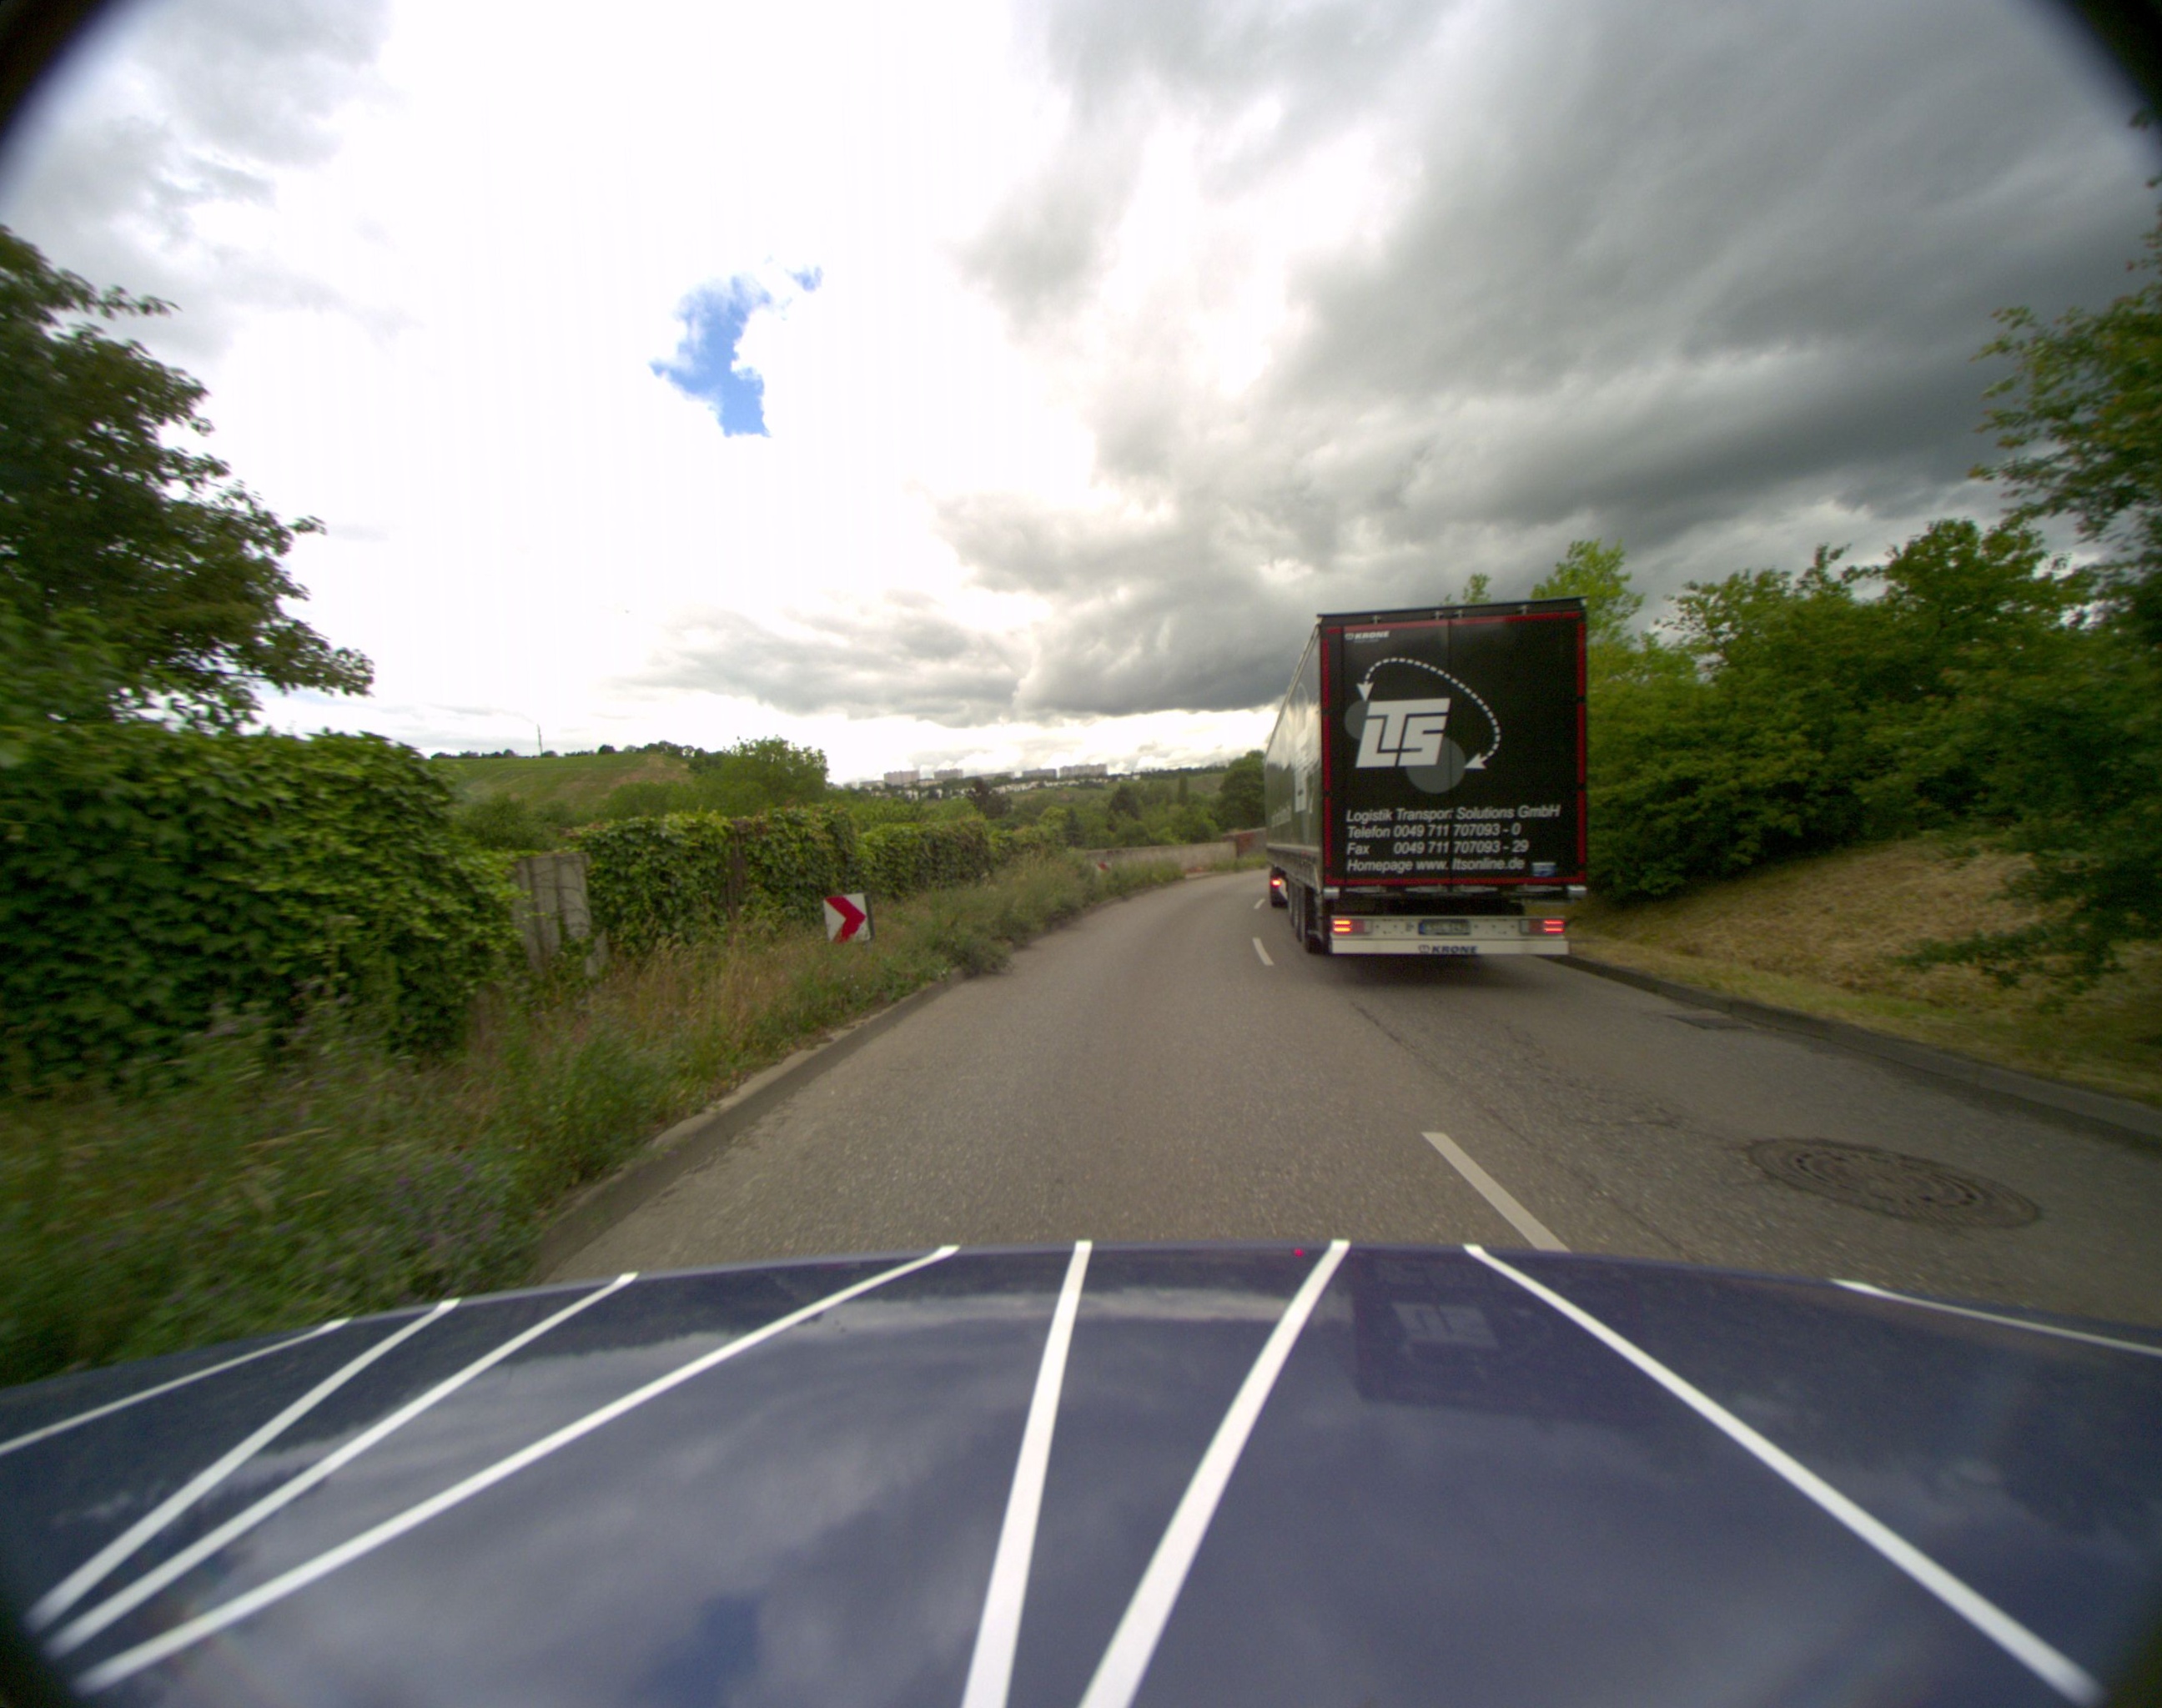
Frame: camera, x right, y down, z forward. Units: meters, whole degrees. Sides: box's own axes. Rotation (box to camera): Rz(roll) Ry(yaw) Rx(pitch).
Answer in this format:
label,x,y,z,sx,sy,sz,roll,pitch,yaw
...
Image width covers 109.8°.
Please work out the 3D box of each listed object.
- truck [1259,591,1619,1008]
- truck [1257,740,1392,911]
label,x,y,z,sx,sy,sz,roll,pitch,yaw
truck,5.017,-0.611,14.211,2.709,3.928,13.844,0,1,11
truck,6.354,-0.712,20.773,2.709,3.928,6.333,0,1,11
